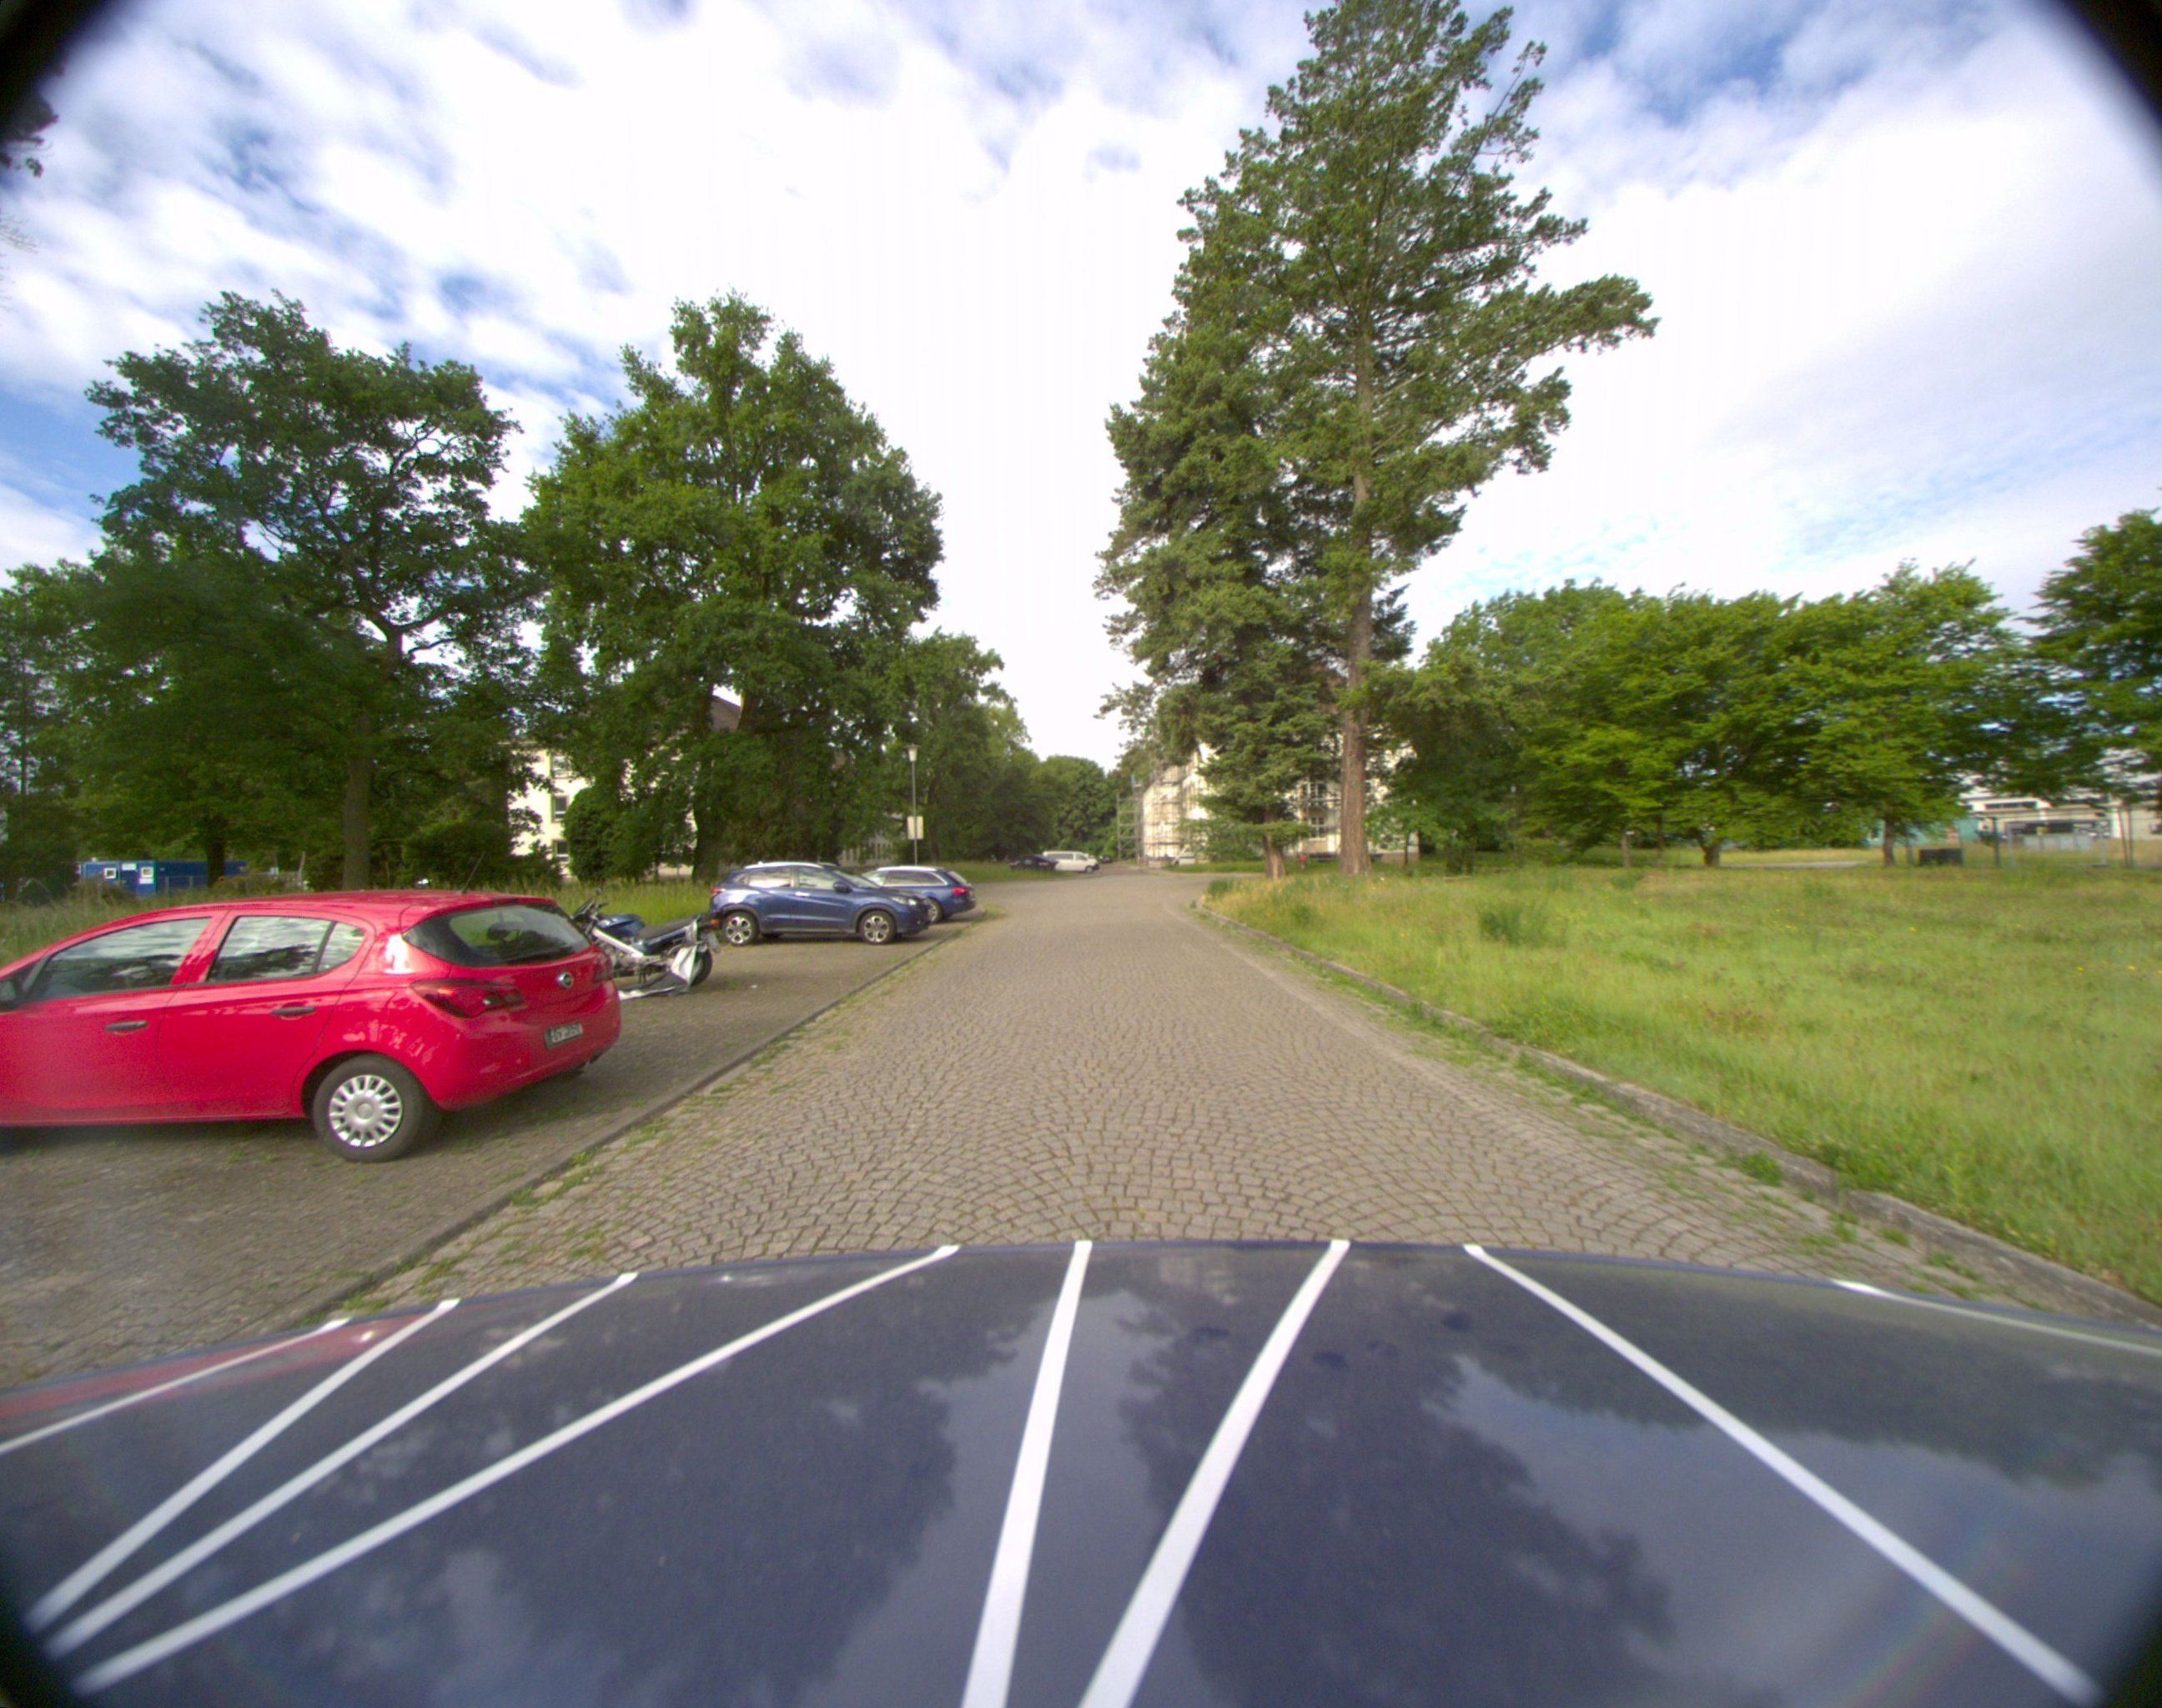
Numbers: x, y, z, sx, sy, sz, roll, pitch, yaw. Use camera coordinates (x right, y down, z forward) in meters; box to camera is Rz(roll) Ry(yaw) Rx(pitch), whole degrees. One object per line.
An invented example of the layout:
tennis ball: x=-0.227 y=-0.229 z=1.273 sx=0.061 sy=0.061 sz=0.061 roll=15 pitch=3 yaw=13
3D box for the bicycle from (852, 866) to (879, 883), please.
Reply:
bicycle: x=-14.451 y=1.377 z=50.954 sx=1.568 sy=1.082 sz=0.561 roll=-1 pitch=1 yaw=-30

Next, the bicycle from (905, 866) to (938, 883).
bicycle: x=-10.471 y=1.336 z=49.963 sx=2.020 sy=1.082 sz=0.478 roll=-1 pitch=3 yaw=-21

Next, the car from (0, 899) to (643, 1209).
car: x=-5.249 y=1.111 z=4.858 sx=3.849 sy=1.497 sz=1.738 roll=-1 pitch=0 yaw=-1

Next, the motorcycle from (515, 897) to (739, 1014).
motorcycle: x=-5.460 y=1.207 z=9.242 sx=2.271 sy=1.267 sz=0.605 roll=-1 pitch=1 yaw=-5

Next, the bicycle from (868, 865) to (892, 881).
bicycle: x=-14.099 y=1.320 z=53.343 sx=1.568 sy=1.028 sz=0.475 roll=-1 pitch=1 yaw=-24

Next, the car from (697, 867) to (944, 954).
car: x=-5.060 y=1.077 z=15.199 sx=4.274 sy=1.564 sz=1.895 roll=0 pitch=0 yaw=0

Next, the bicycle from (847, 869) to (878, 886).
bicycle: x=-14.141 y=1.510 z=49.220 sx=1.859 sy=0.984 sz=0.455 roll=-1 pitch=1 yaw=-27

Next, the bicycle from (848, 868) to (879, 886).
bicycle: x=-13.928 y=1.488 z=48.703 sx=1.815 sy=1.082 sz=0.478 roll=-2 pitch=3 yaw=-27

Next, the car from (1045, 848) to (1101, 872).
car: x=-0.717 y=0.564 z=68.674 sx=4.916 sy=1.983 sz=1.999 roll=-2 pitch=0 yaw=-2

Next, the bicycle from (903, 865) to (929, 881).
bicycle: x=-11.851 y=1.360 z=54.682 sx=1.753 sy=1.082 sz=0.552 roll=-1 pitch=3 yaw=-21

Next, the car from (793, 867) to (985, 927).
car: x=-4.938 y=1.103 z=19.956 sx=4.515 sy=1.456 sz=1.896 roll=0 pitch=0 yaw=4

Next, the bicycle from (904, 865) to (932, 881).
bicycle: x=-11.569 y=1.358 z=53.954 sx=1.810 sy=1.082 sz=0.552 roll=-1 pitch=3 yaw=-21

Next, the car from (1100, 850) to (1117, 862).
car: x=4.860 y=0.346 z=135.130 sx=2.029 sy=1.915 sz=3.996 roll=-2 pitch=0 yaw=-10
